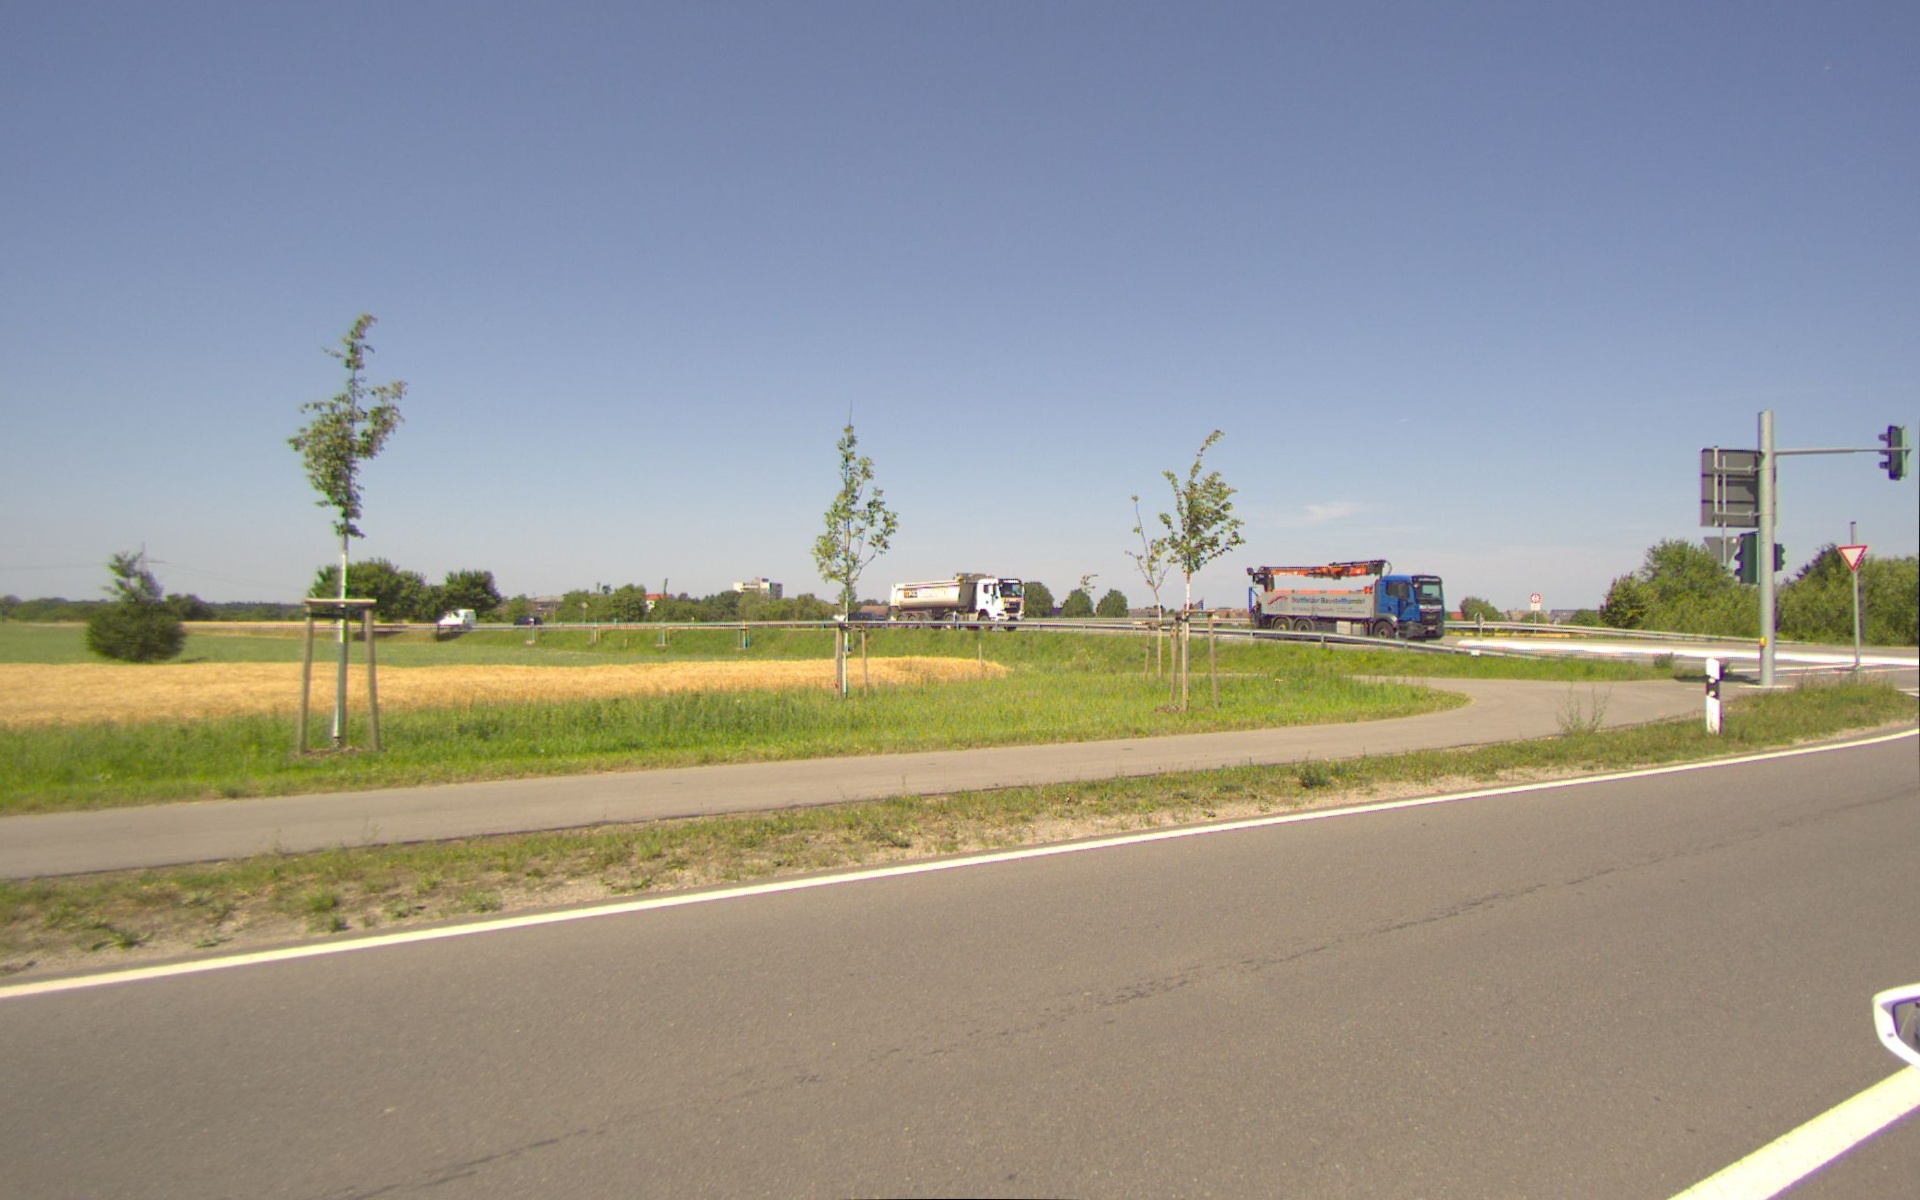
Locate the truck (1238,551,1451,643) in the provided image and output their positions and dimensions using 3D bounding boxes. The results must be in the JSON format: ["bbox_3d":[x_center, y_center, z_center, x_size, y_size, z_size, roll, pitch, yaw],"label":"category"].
[{"bbox_3d":[17.653,-0.128,47.158,2.594,3.844,10.035,1,0,-29],"label":"truck"}]

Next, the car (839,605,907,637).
[{"bbox_3d":[-7.213,1.679,82.713,2.537,2.454,5.861,1,0,-43],"label":"car"}]

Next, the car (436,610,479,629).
[{"bbox_3d":[-66.086,2.562,132.011,5.831,2.454,2.243,1,0,30],"label":"car"}]

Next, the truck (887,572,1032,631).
[{"bbox_3d":[-0.291,0.089,67.842,2.958,3.663,11.891,1,0,-39],"label":"truck"}]
